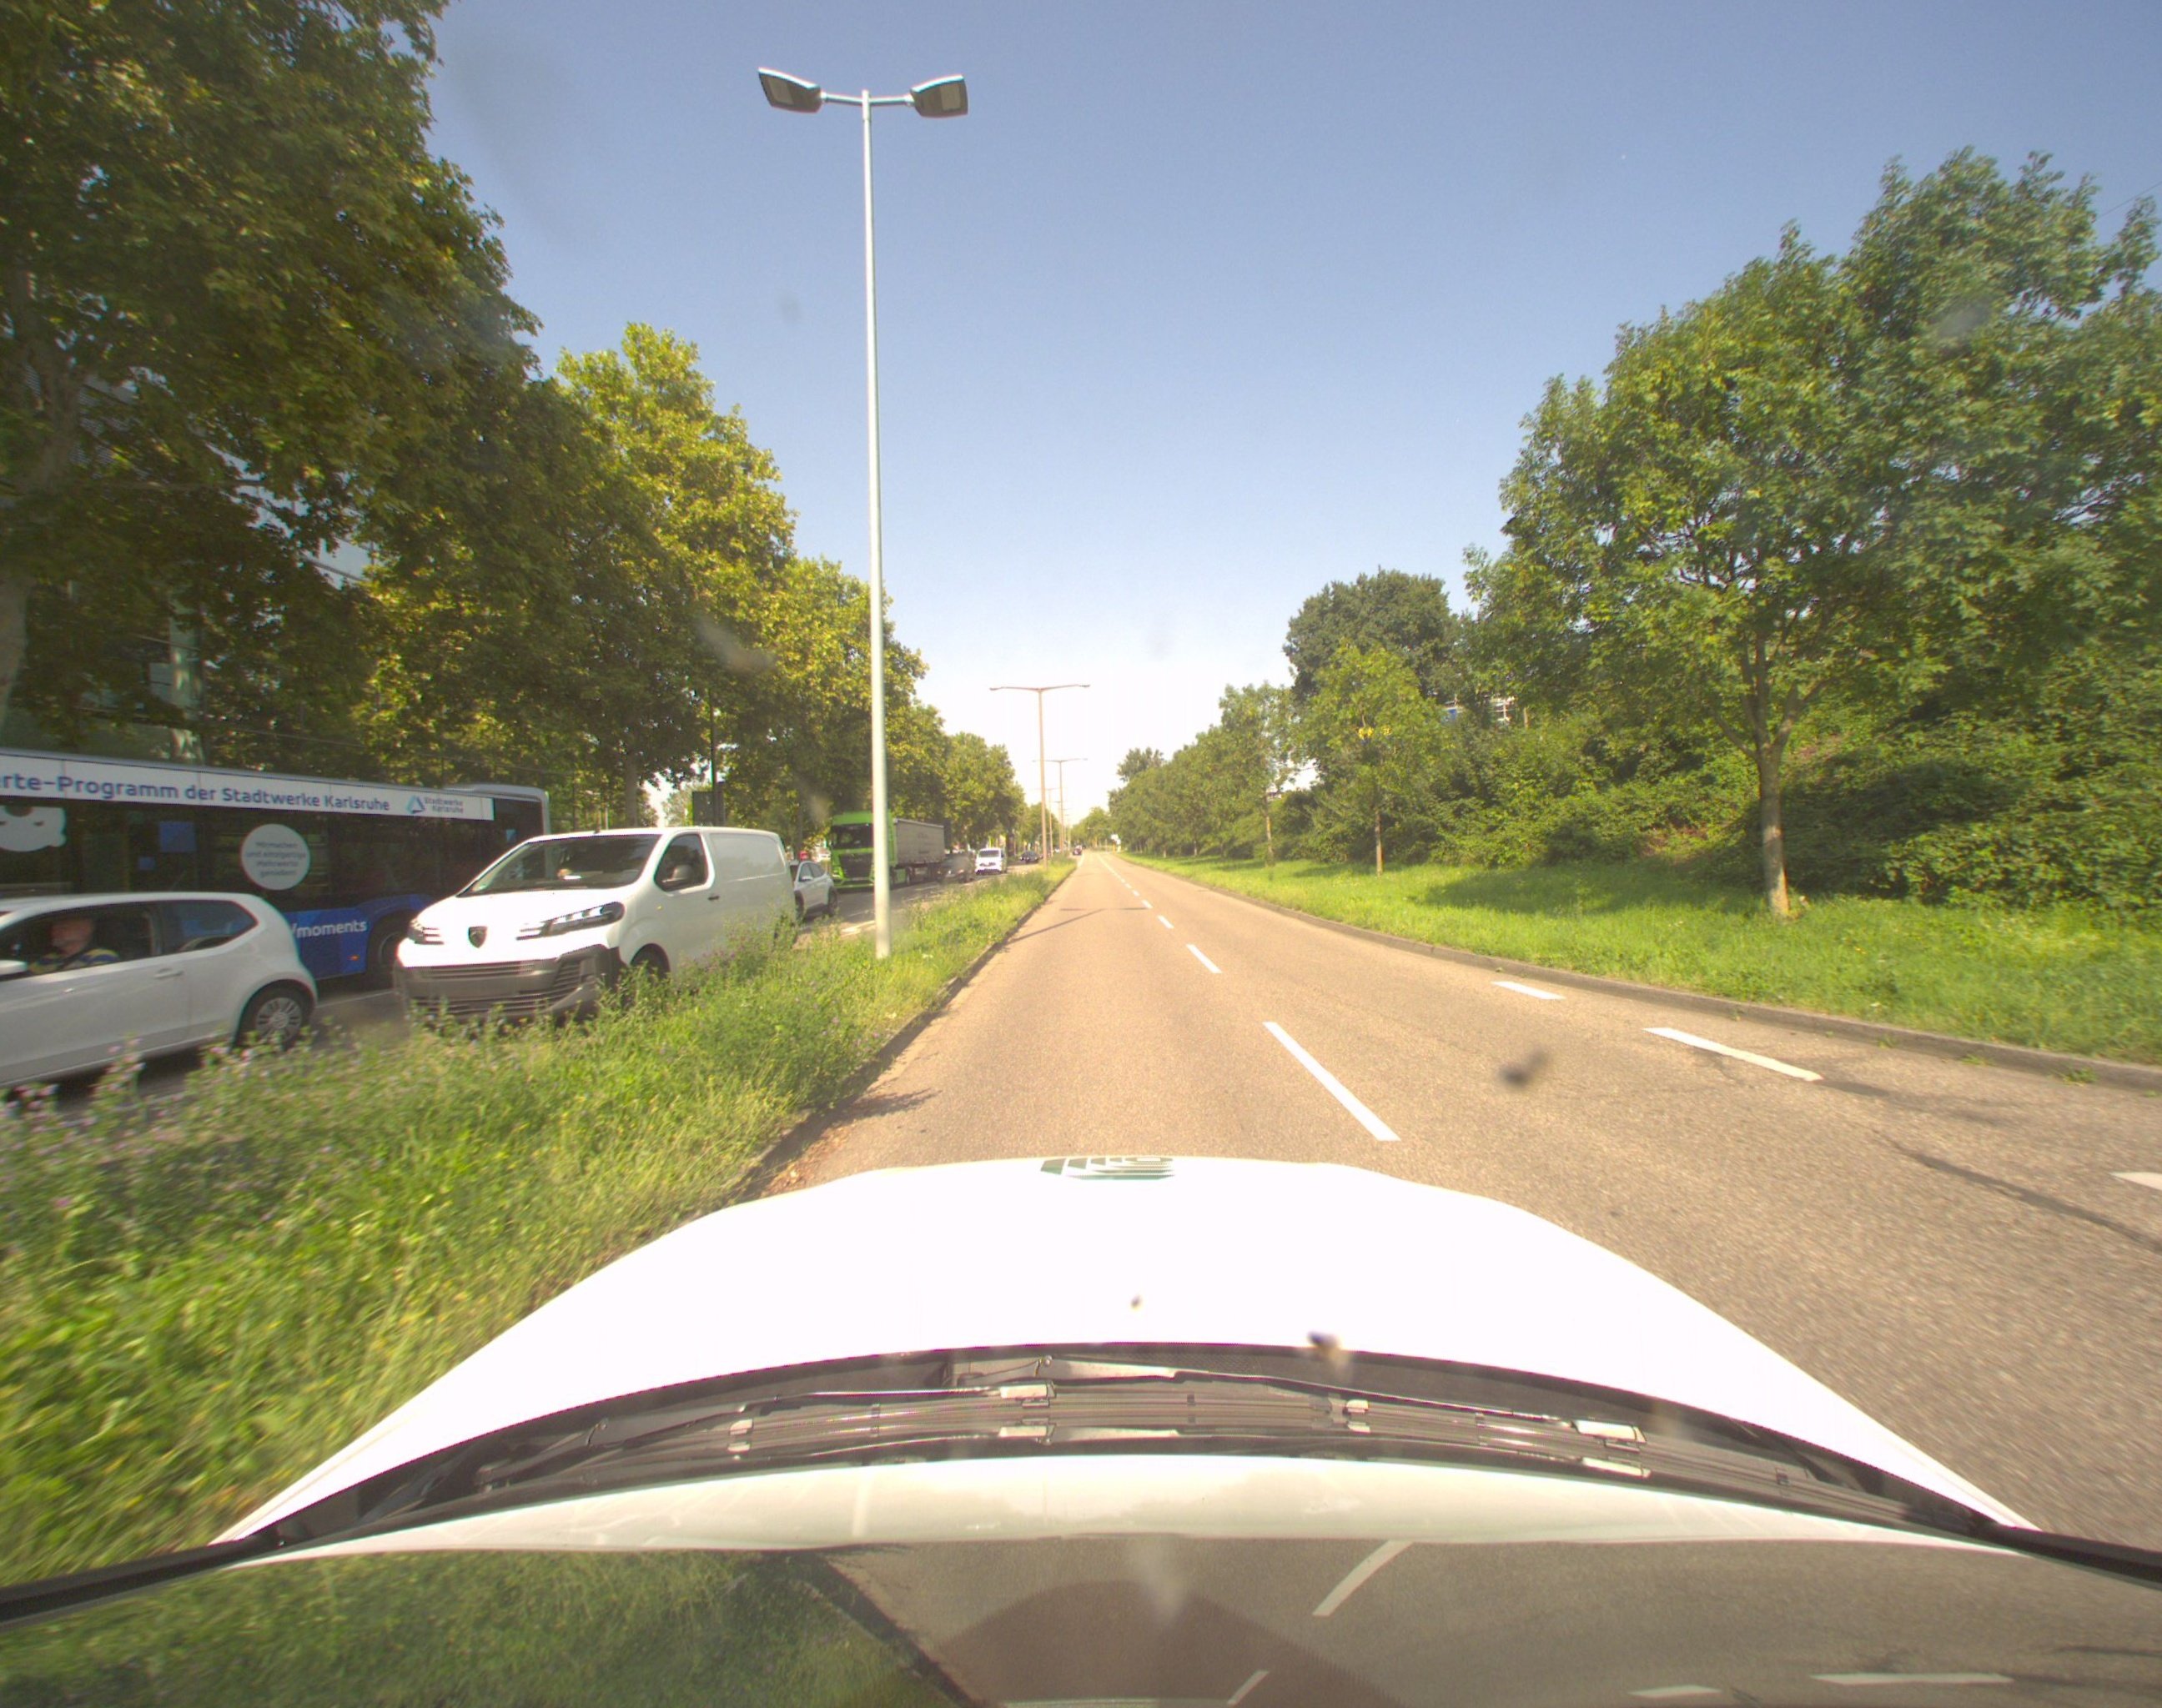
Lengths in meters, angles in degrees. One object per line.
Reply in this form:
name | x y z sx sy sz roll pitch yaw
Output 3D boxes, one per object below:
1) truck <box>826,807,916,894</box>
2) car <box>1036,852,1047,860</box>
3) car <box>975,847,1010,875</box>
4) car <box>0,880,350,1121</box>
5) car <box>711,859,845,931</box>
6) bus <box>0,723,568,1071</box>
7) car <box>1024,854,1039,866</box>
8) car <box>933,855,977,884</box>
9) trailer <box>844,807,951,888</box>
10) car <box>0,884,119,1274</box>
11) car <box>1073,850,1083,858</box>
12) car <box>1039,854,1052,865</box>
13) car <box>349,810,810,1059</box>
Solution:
truck | -10.149 -0.149 40.020 2.599 3.819 5.891 -4 0 0
car | -8.648 0.428 177.646 1.987 1.759 4.477 -2 0 1
car | -6.571 0.517 60.930 1.987 1.953 5.036 -2 0 0
car | -7.789 1.030 5.739 1.700 1.467 3.821 -4 0 0
car | -7.305 0.921 20.100 1.689 1.529 4.140 -1 0 0
bus | -10.819 0.406 8.722 2.581 3.079 12.314 -1 0 1
car | -6.781 0.831 111.220 1.741 1.479 4.584 -4 0 -1
car | -6.898 0.832 44.949 1.608 1.398 3.859 -4 0 2
trailer | -10.082 -0.301 46.763 2.624 3.821 13.812 -4 0 1
car | -4.851 0.905 1.274 1.703 1.402 4.084 -4 1 1
car | -0.674 0.041 166.737 1.684 1.486 4.004 -2 0 4
car | -5.917 0.858 136.857 1.947 1.724 4.587 -2 0 1
car | -4.798 0.636 8.921 1.905 1.863 4.889 -3 0 0
